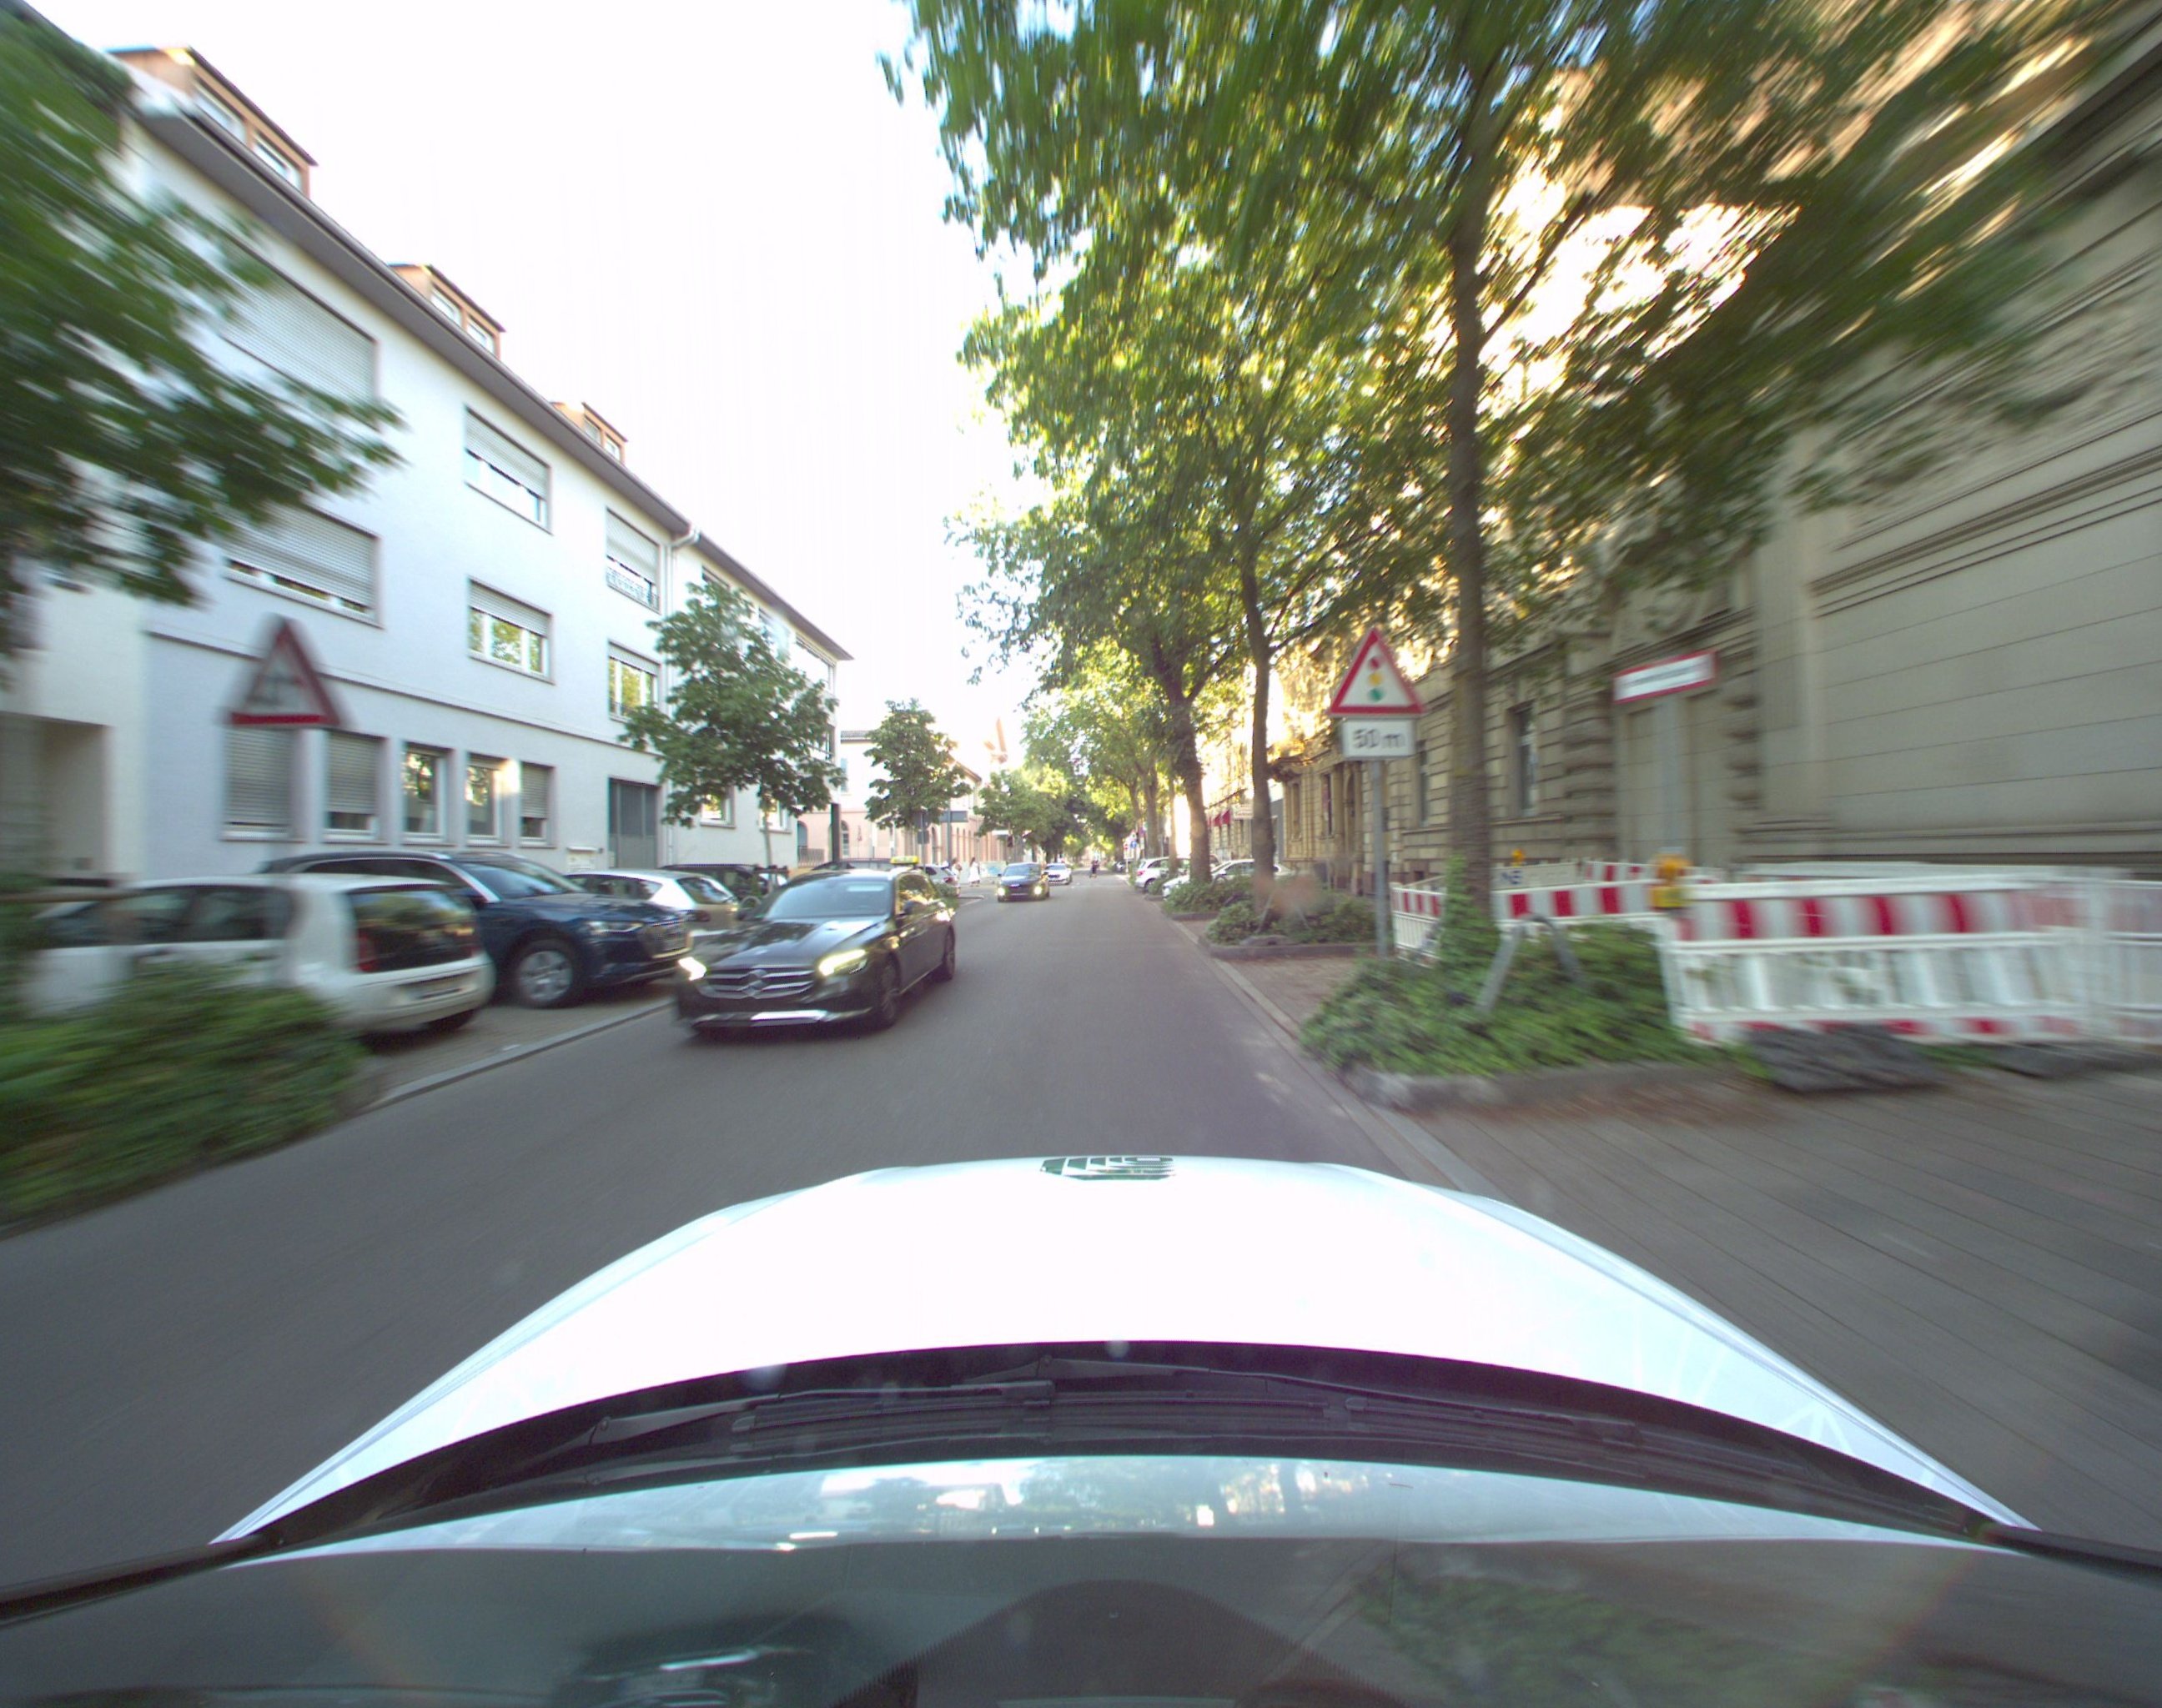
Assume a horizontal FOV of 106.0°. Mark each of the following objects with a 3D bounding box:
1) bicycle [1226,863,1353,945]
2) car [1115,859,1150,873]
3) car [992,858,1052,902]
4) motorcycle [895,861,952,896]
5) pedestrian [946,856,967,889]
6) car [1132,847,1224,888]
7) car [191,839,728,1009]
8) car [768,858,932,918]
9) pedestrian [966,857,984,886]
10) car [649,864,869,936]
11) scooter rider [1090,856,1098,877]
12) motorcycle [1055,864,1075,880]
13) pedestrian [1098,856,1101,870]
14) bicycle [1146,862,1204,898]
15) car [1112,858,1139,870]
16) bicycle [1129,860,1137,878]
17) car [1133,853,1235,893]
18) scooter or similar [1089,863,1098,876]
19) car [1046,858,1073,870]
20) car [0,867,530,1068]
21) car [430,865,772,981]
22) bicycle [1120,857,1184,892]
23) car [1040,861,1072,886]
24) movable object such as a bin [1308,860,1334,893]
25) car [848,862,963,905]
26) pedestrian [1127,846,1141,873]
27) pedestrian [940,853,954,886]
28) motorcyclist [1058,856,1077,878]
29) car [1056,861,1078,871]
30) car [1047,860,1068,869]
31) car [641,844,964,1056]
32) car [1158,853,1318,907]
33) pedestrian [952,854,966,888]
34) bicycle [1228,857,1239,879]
[{"bbox_3d":[3.529,0.834,13.846,2.040,1.360,0.508,0,0,-1],"label":"bicycle"},{"bbox_3d":[6.410,1.504,101.409,4.178,1.480,1.852,-3,-1,1],"label":"car"},{"bbox_3d":[-2.225,0.957,31.884,1.870,1.549,4.276,-2,0,1],"label":"car"},{"bbox_3d":[-6.729,1.048,34.792,2.129,1.419,0.973,-2,-1,22],"label":"motorcycle"},{"bbox_3d":[-6.819,1.015,44.527,0.775,1.791,0.784,1,0,-40],"label":"pedestrian"},{"bbox_3d":[5.051,0.702,42.834,4.527,1.915,1.949,-2,-1,-2],"label":"car"},{"bbox_3d":[-6.985,0.741,9.622,4.650,1.765,2.156,0,-1,0],"label":"car"},{"bbox_3d":[-6.490,0.935,23.196,4.077,1.632,1.937,0,-1,2],"label":"car"},{"bbox_3d":[-6.309,1.028,48.390,0.846,1.738,0.770,1,-2,-25],"label":"pedestrian"},{"bbox_3d":[-6.908,0.955,17.748,4.059,1.440,1.756,1,-1,2],"label":"car"},{"bbox_3d":[1.127,1.121,71.903,0.491,1.791,0.877,-2,-2,11],"label":"scooter rider"},{"bbox_3d":[-1.183,1.337,60.406,1.307,1.090,2.397,-1,0,1],"label":"motorcycle"},{"bbox_3d":[2.744,1.355,121.434,0.500,2.014,0.621,0,-1,2],"label":"pedestrian"},{"bbox_3d":[3.516,0.976,30.490,2.021,1.204,0.486,-3,-1,-12],"label":"bicycle"},{"bbox_3d":[6.698,1.538,122.511,4.002,1.623,1.780,-2,-1,0],"label":"car"},{"bbox_3d":[4.069,1.149,63.682,0.414,1.372,1.292,-2,-1,12],"label":"bicycle"},{"bbox_3d":[4.391,0.806,35.226,4.205,1.560,1.973,-2,0,4],"label":"car"},{"bbox_3d":[1.124,1.375,71.856,0.498,1.145,1.254,-2,-2,12],"label":"scooter or similar"},{"bbox_3d":[-4.038,1.953,155.441,5.047,2.083,2.263,-2,-1,0],"label":"car"},{"bbox_3d":[-7.283,0.862,6.987,3.831,1.450,1.855,0,0,1],"label":"car"},{"bbox_3d":[-6.932,0.946,12.028,4.010,1.494,1.782,1,-1,4],"label":"car"},{"bbox_3d":[3.477,0.998,40.035,3.106,1.663,0.657,0,-1,-4],"label":"bicycle"},{"bbox_3d":[-1.618,1.245,53.854,1.871,1.549,4.274,-2,0,0],"label":"car"},{"bbox_3d":[8.075,0.750,27.381,0.655,1.064,0.615,-3,-1,1],"label":"movable object such as a bin"},{"bbox_3d":[-6.307,1.038,29.543,3.729,1.458,1.735,1,-1,0],"label":"car"},{"bbox_3d":[4.214,0.458,64.873,1.039,2.146,1.064,0,-1,1],"label":"pedestrian"},{"bbox_3d":[-7.582,0.874,46.163,0.550,1.850,0.614,-1,-1,16],"label":"pedestrian"},{"bbox_3d":[-1.007,0.939,60.270,1.275,1.592,1.077,-1,-1,1],"label":"motorcyclist"},{"bbox_3d":[-3.338,2.851,191.754,5.045,2.083,2.264,-2,-1,2],"label":"car"},{"bbox_3d":[-4.323,1.987,150.047,3.717,1.508,1.871,-2,-1,-3],"label":"car"},{"bbox_3d":[-2.591,0.791,8.918,1.871,1.640,4.645,-2,0,0],"label":"car"},{"bbox_3d":[4.714,0.772,24.941,4.565,1.437,1.926,-2,0,2],"label":"car"},{"bbox_3d":[-6.897,0.953,46.070,0.550,1.850,0.614,-1,1,15],"label":"pedestrian"},{"bbox_3d":[8.890,0.806,47.622,0.383,1.211,1.727,-2,-1,3],"label":"bicycle"}]
